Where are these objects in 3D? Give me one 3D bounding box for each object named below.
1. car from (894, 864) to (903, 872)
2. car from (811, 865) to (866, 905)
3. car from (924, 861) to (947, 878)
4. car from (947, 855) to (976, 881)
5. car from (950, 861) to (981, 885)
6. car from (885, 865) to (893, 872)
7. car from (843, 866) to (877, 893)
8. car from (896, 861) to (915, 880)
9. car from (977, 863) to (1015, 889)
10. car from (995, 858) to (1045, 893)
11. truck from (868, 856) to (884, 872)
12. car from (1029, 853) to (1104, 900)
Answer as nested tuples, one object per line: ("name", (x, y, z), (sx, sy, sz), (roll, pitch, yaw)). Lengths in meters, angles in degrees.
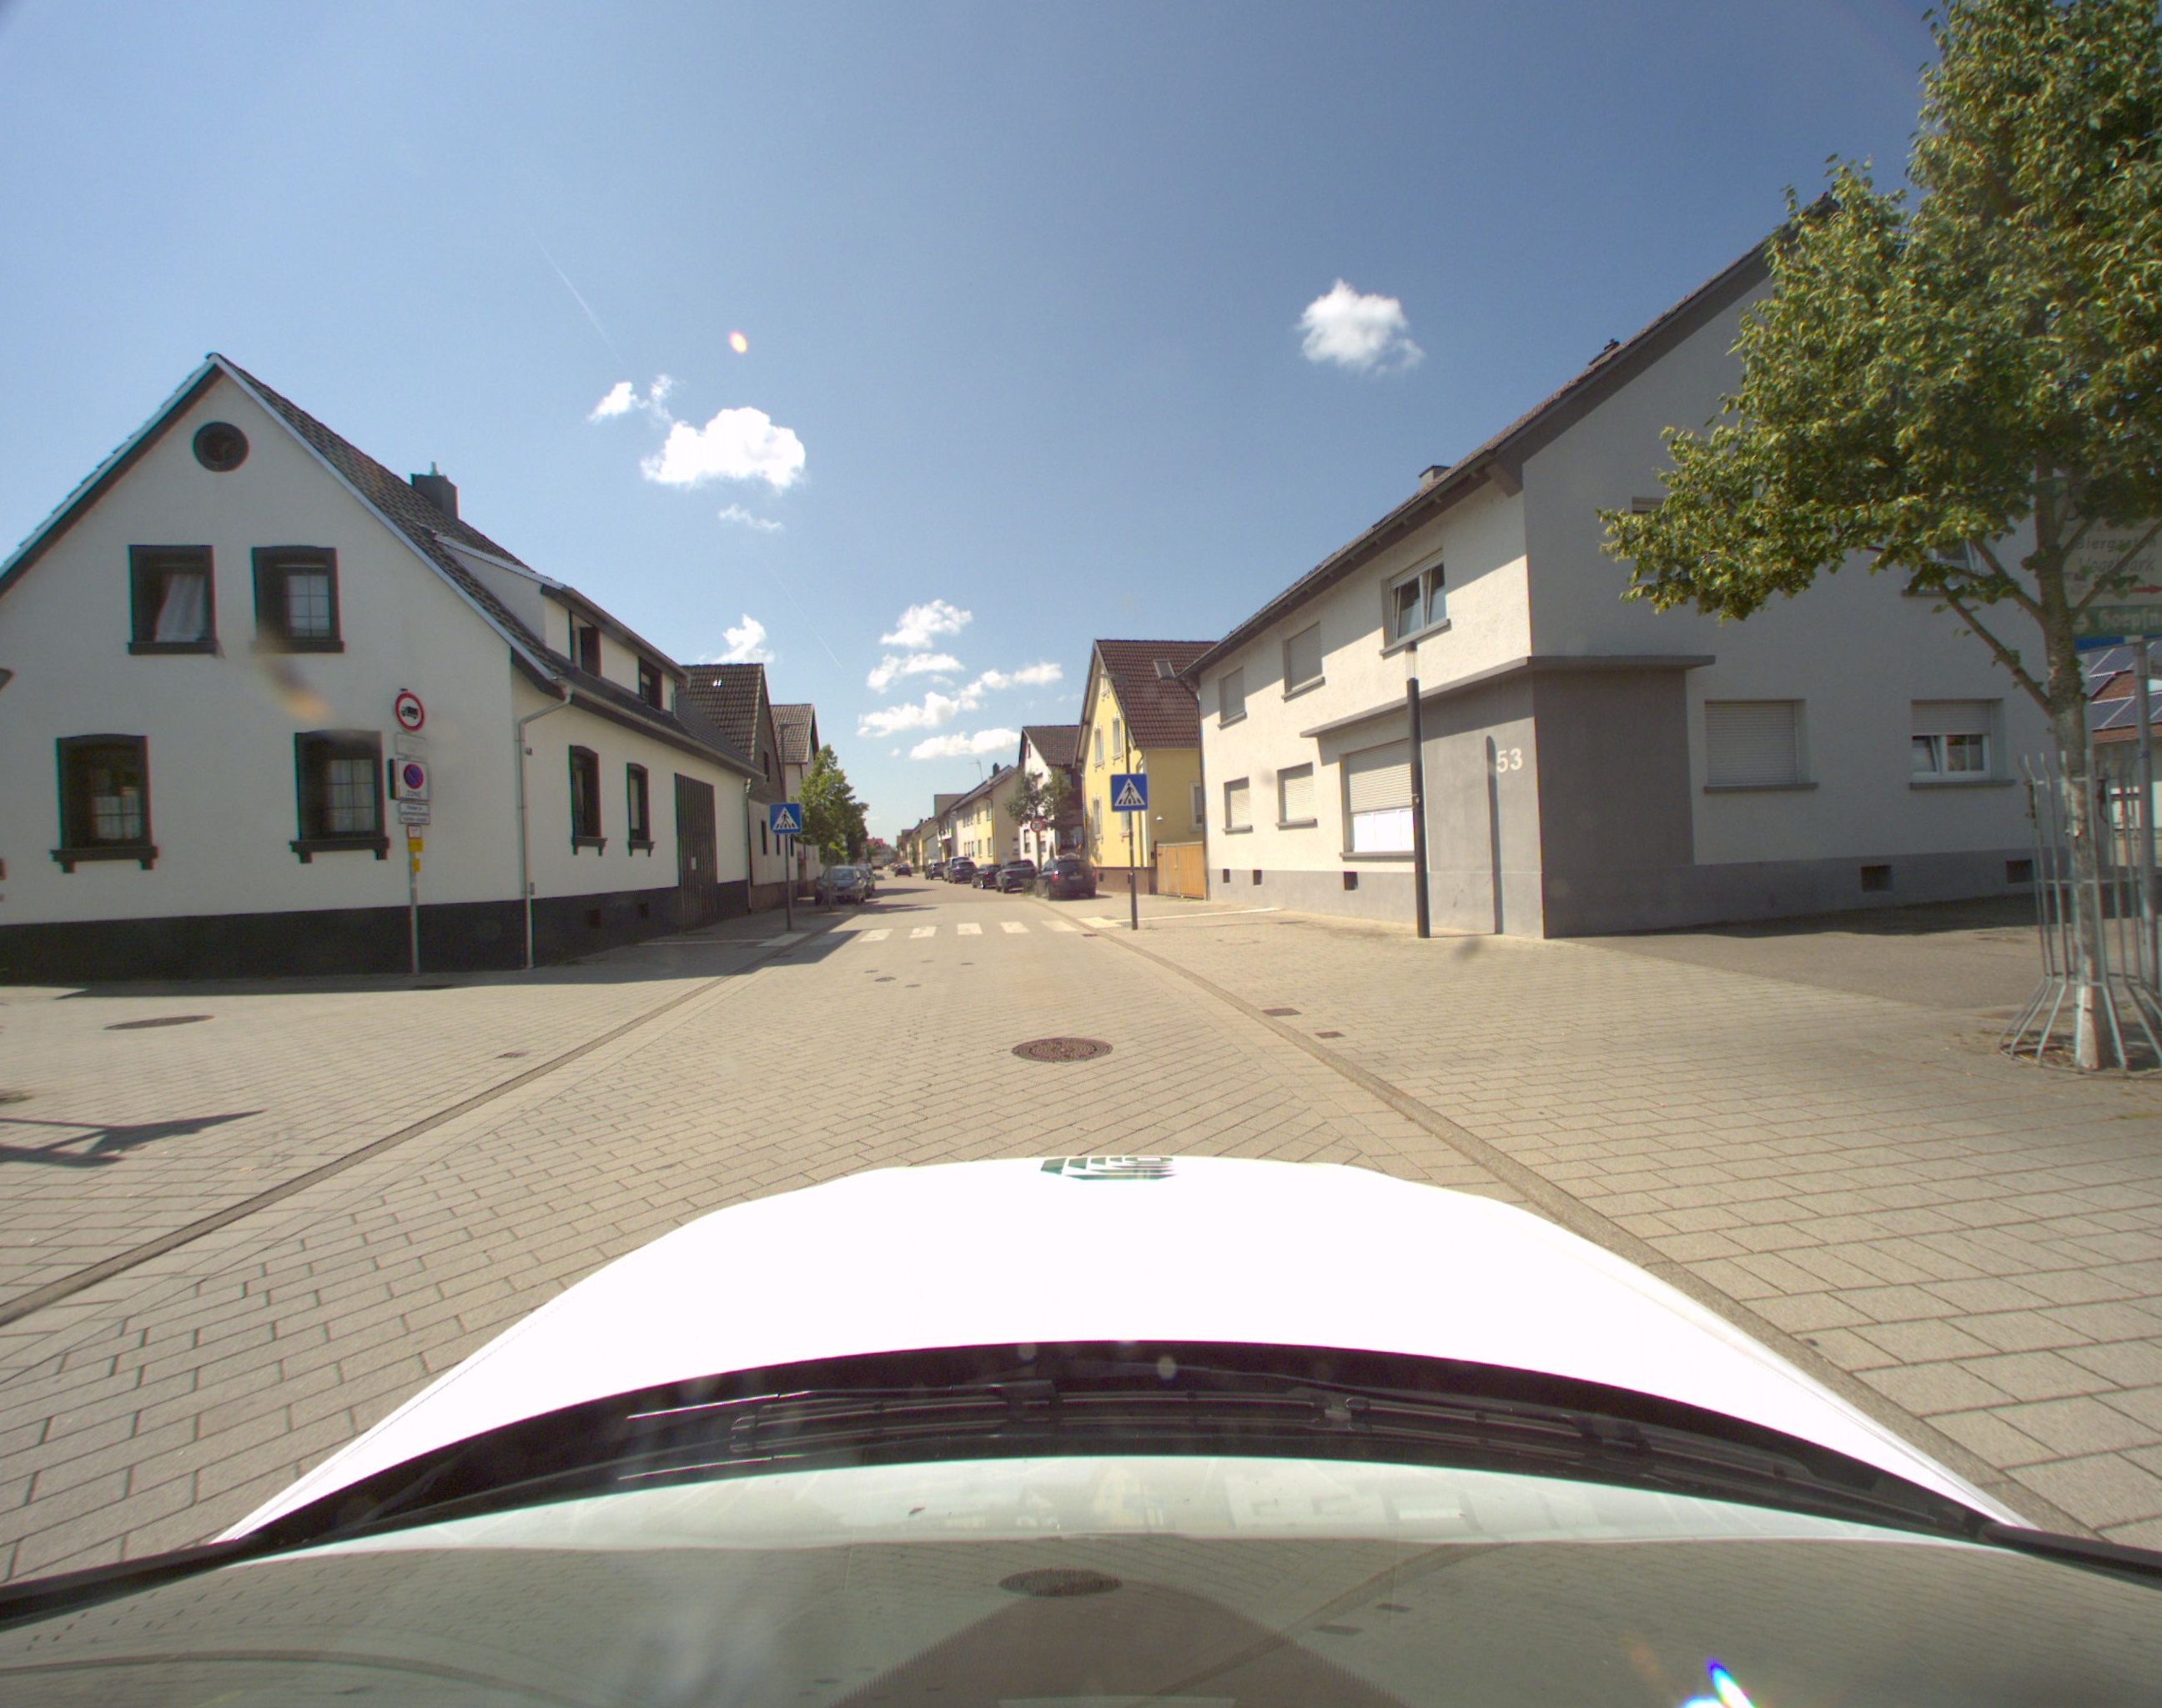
("car", (-35.988, 2.712, 160.729), (1.690, 1.452, 3.775), (-3, 0, -14))
("car", (-10.127, 1.245, 34.220), (1.747, 1.530, 3.986), (-1, 0, -10))
("car", (-13.324, 1.388, 74.372), (1.756, 1.493, 3.982), (-3, 0, -13))
("car", (-9.680, 1.115, 65.843), (1.909, 1.871, 3.982), (-3, 0, -13))
("car", (-8.618, 1.354, 60.277), (1.880, 1.591, 3.982), (-3, 0, -13))
("car", (-43.303, 3.318, 183.568), (1.691, 1.452, 3.772), (-3, 0, -15))
("car", (-13.685, 1.539, 50.612), (1.795, 1.475, 3.853), (-3, 0, -13))
("car", (-20.332, 1.860, 94.450), (1.996, 2.057, 4.353), (-3, 0, -14))
("car", (-4.957, 1.235, 47.047), (1.713, 1.387, 3.689), (-3, 0, -13))
("car", (-3.005, 1.013, 39.607), (1.849, 1.562, 3.677), (-3, 0, -13))
("truck", (-52.283, 2.535, 207.446), (3.572, 3.953, 8.534), (-3, 0, -16))
("car", (-0.626, 0.818, 30.321), (1.831, 1.471, 4.257), (-5, 0, -13))
